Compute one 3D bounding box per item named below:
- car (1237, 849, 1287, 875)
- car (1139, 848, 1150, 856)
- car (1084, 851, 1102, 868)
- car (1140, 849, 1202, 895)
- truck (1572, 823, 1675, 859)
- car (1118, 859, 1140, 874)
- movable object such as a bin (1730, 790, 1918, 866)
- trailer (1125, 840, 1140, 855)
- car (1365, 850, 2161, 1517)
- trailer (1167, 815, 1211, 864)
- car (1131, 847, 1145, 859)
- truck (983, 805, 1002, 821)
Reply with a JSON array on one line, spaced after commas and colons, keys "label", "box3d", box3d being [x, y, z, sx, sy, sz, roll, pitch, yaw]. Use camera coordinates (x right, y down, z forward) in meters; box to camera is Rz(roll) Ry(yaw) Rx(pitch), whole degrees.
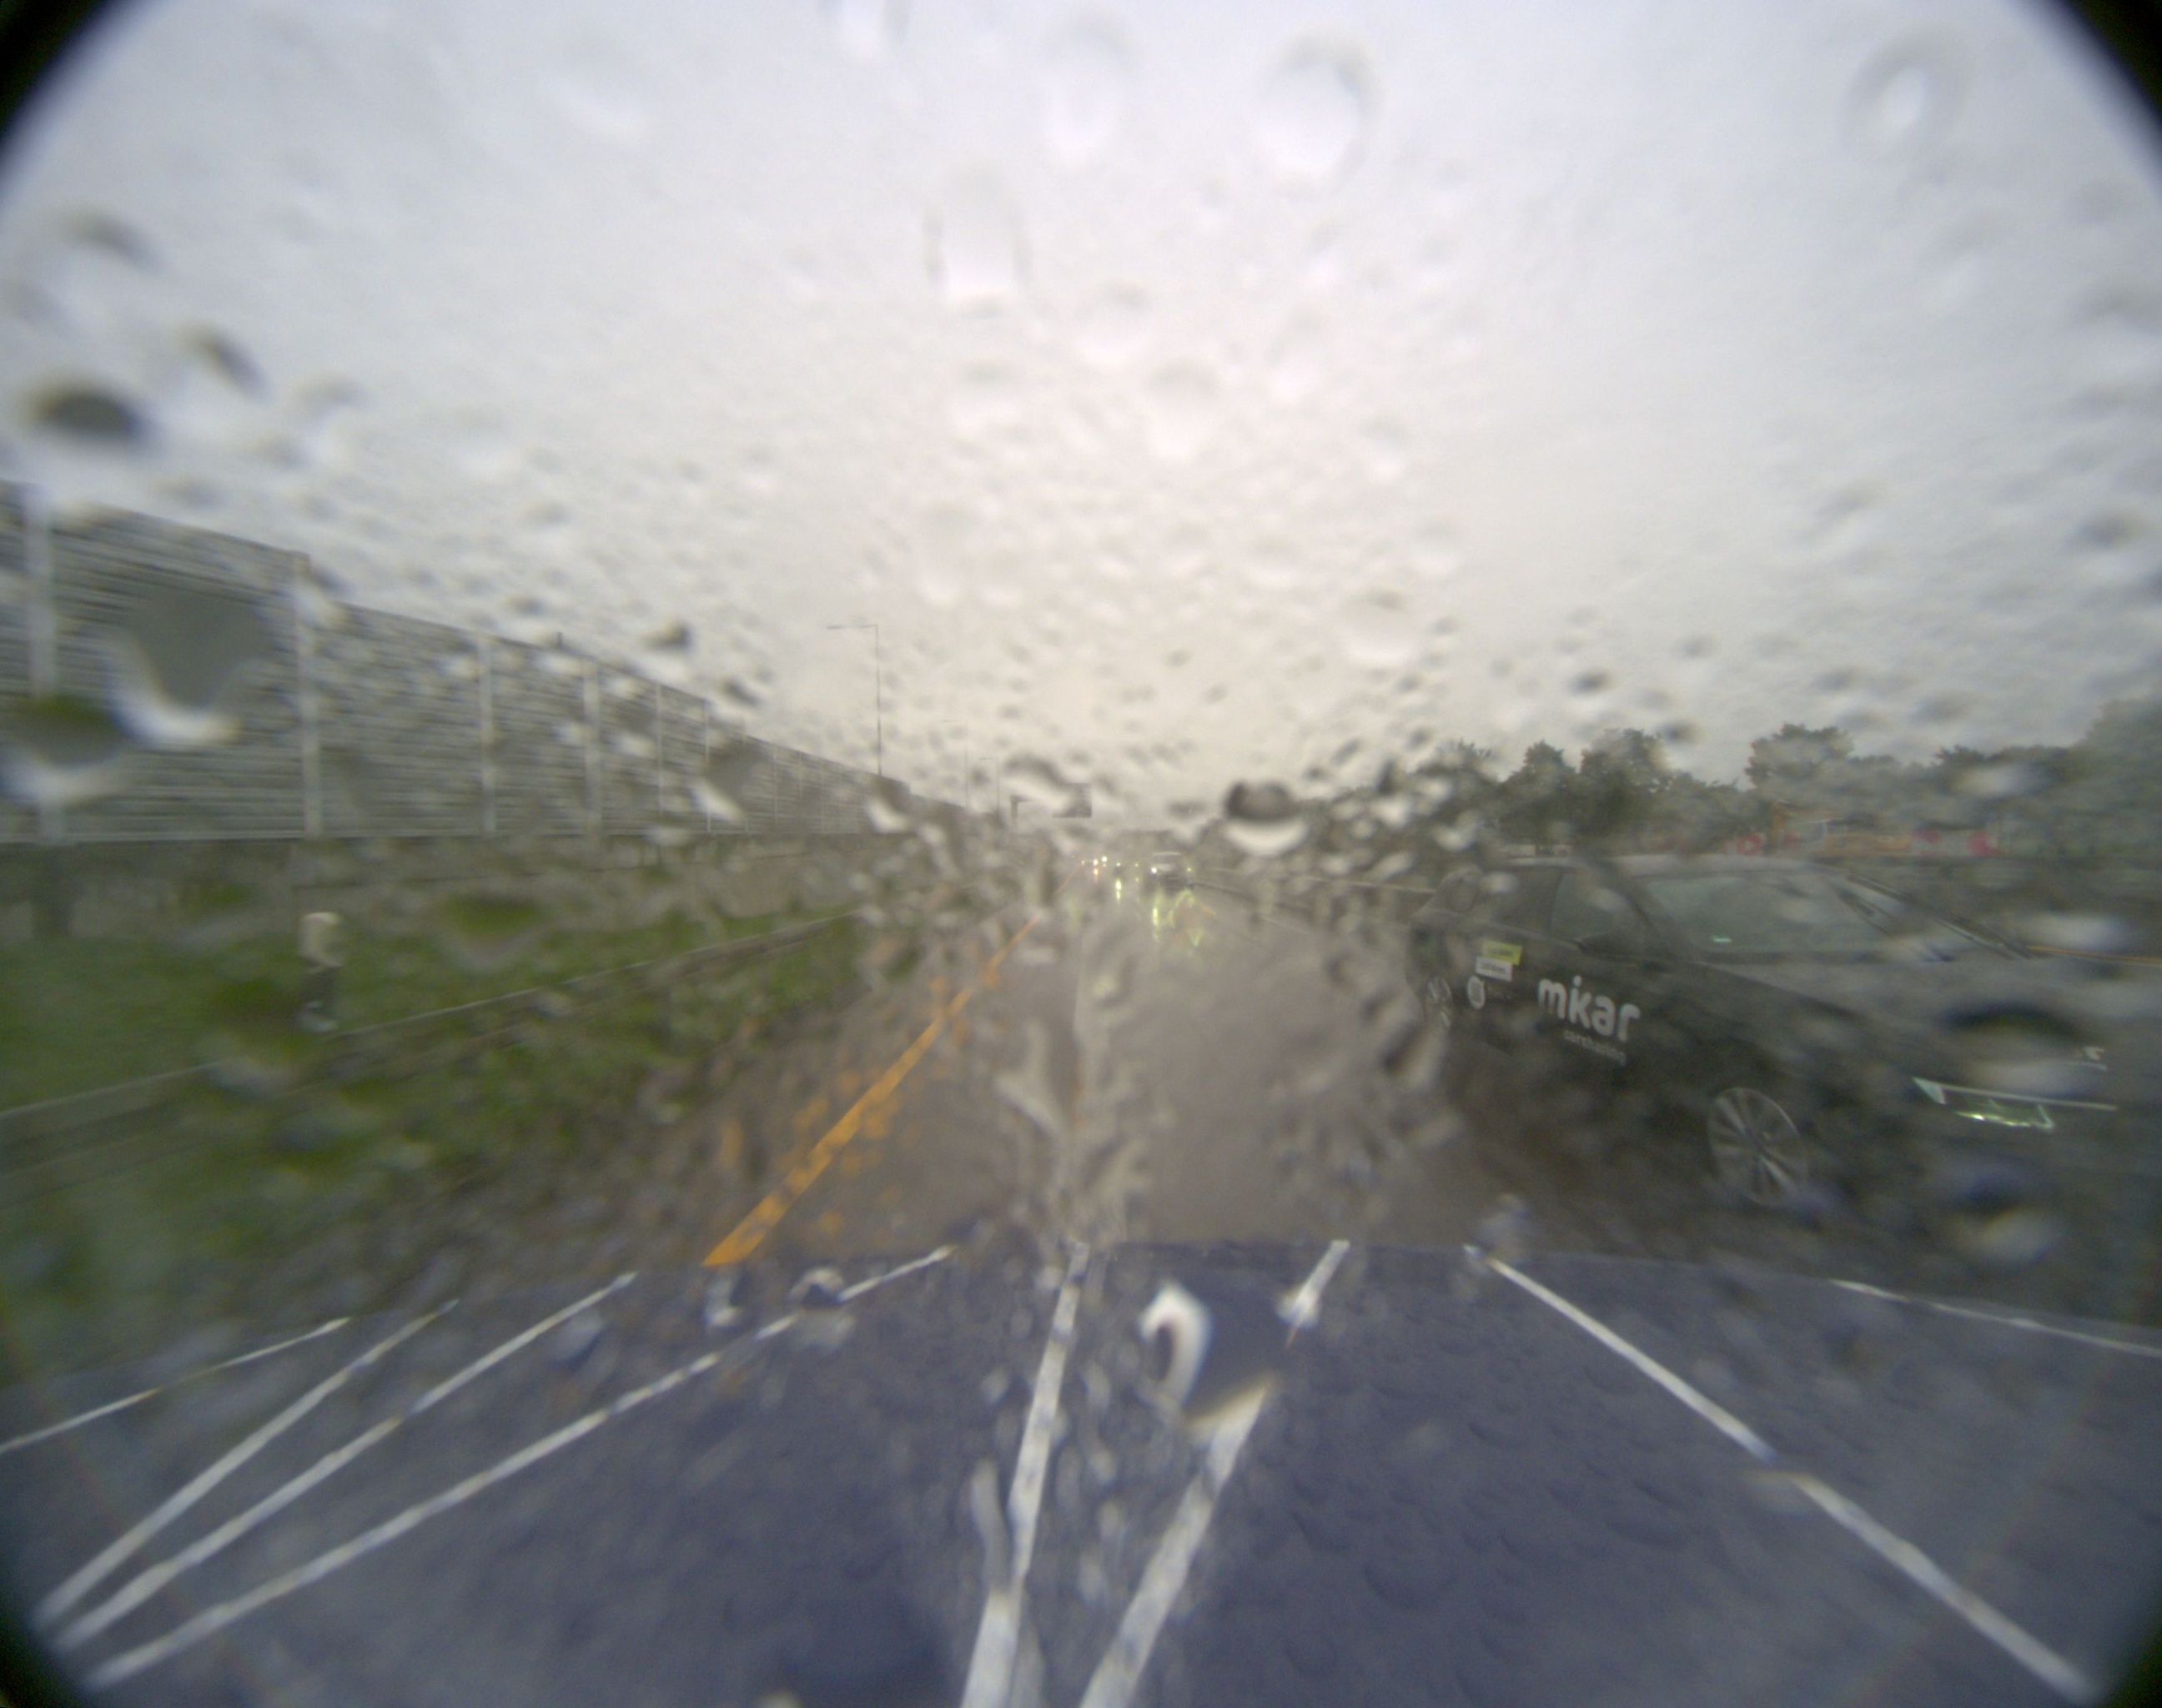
[{"label": "car", "box3d": [10.782, 0.428, 45.629, 1.732, 1.429, 5.437, -2, 0, 1]}, {"label": "car", "box3d": [11.148, -0.344, 132.776, 1.573, 1.427, 3.892, -1, 1, 0]}, {"label": "car", "box3d": [1.400, 0.657, 89.501, 1.998, 1.762, 3.999, -2, 2, 2]}, {"label": "car", "box3d": [3.801, 0.713, 32.710, 1.972, 1.671, 3.997, -2, 2, -3]}, {"label": "truck", "box3d": [45.307, -1.058, 63.881, 2.521, 2.688, 8.901, -2, 0, 1]}, {"label": "car", "box3d": [3.668, 0.936, 58.664, 1.335, 1.105, 3.198, 1, 0, -2]}, {"label": "movable object such as a bin", "box3d": [42.969, -1.464, 44.451, 2.736, 3.897, 8.461, -2, 1, 0]}, {"label": "trailer", "box3d": [11.602, -1.416, 171.929, 2.668, 3.343, 9.713, -2, 0, 0]}, {"label": "car", "box3d": [3.409, 0.753, 4.139, 1.944, 1.518, 4.795, -1, 0, 0]}, {"label": "trailer", "box3d": [10.672, -1.373, 76.511, 2.587, 4.431, 13.551, -2, 0, 1]}, {"label": "car", "box3d": [8.396, -0.195, 112.883, 1.705, 1.589, 4.319, -2, 2, 0]}, {"label": "truck", "box3d": [-12.005, -5.472, 102.808, 1.998, 2.002, 4.057, -2, 2, 0]}]
